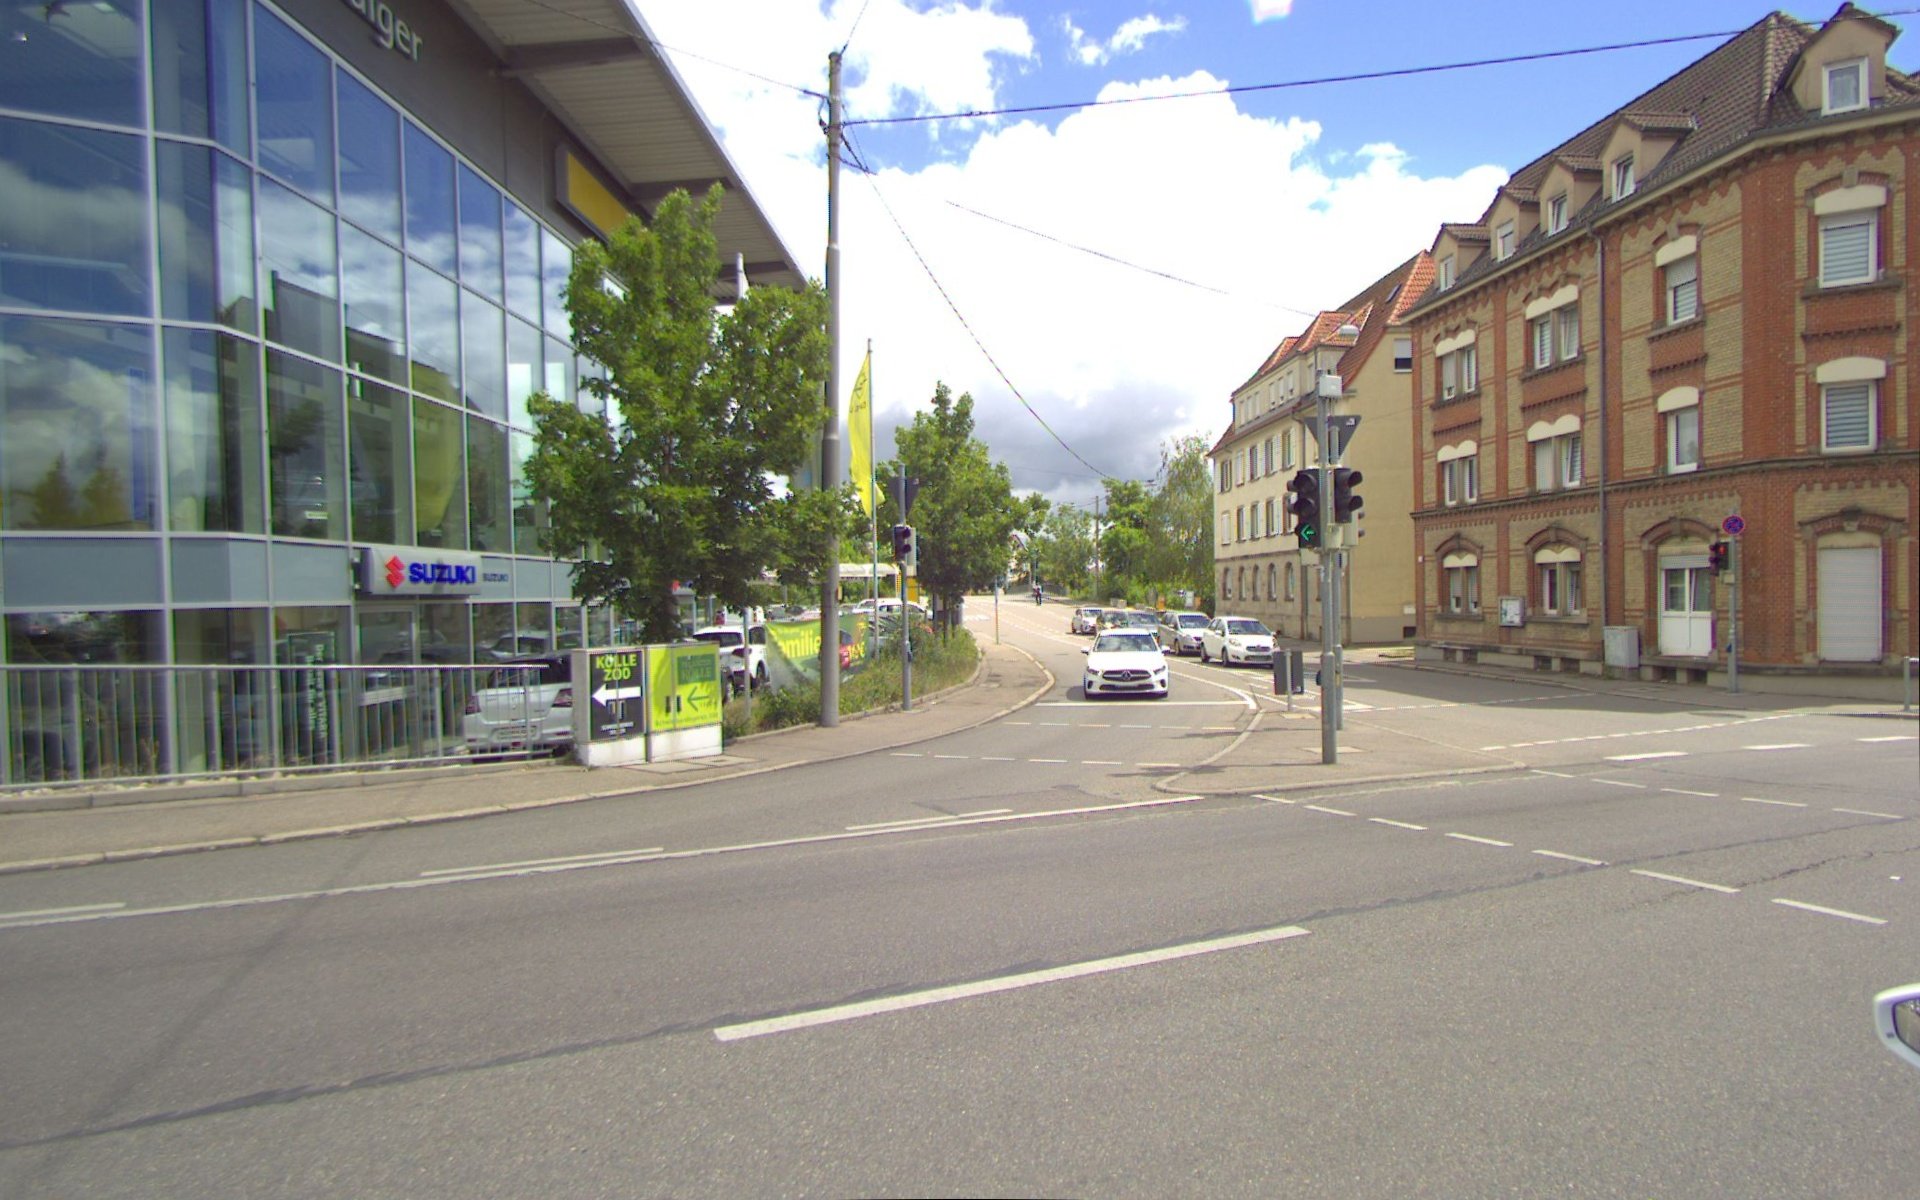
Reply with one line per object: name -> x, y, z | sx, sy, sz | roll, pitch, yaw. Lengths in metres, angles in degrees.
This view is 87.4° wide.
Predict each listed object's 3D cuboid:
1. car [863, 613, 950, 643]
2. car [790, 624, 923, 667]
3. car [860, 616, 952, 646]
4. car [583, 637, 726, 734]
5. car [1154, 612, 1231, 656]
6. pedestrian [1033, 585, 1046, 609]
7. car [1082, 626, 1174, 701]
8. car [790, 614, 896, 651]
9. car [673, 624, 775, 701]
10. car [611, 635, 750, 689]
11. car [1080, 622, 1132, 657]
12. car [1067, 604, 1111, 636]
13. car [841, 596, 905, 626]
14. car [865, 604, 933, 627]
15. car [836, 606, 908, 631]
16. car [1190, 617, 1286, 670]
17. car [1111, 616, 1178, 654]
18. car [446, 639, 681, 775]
car -> -2.464, 1.309, 47.256 | 3.920, 1.311, 1.819 | 1, 0, 2
car -> -3.196, 1.399, 31.507 | 3.920, 1.202, 1.819 | 1, 0, 2
car -> -2.370, 1.358, 44.618 | 3.920, 1.202, 1.819 | 1, 0, 2
car -> -5.671, 1.528, 19.092 | 1.487, 1.543, 3.793 | 1, -1, 1
car -> 8.719, 1.259, 38.024 | 1.714, 1.539, 3.997 | 1, -1, -4
pedestrian -> 6.941, -0.257, 87.618 | 0.944, 2.040, 0.867 | 1, 0, 13
car -> 3.683, 1.354, 22.631 | 1.825, 1.466, 4.394 | -2, -2, 7
car -> -4.629, 1.263, 40.091 | 3.920, 1.371, 1.733 | 1, 0, 2
car -> -5.432, 1.406, 23.481 | 1.487, 1.596, 3.415 | 1, -1, 1
car -> -8.667, 1.904, 31.204 | 3.920, 1.478, 1.605 | 1, 0, 17
car -> 7.281, 1.935, 50.517 | 1.960, 1.607, 4.346 | 1, 0, 0
car -> 7.395, 1.127, 57.939 | 1.907, 1.743, 3.999 | 1, -1, -2
car -> -6.061, 0.797, 70.686 | 2.202, 2.040, 4.924 | 0, -1, 26
car -> -3.676, 0.911, 60.768 | 3.920, 1.311, 1.819 | 1, 0, 2
car -> -5.027, 1.052, 57.629 | 3.920, 1.311, 1.819 | 1, 0, 2
car -> 8.687, 1.315, 31.702 | 1.669, 1.517, 3.997 | 1, -1, -4
car -> 8.140, 1.528, 44.736 | 1.962, 1.539, 3.997 | 1, -1, -4
car -> -5.687, 1.463, 14.939 | 1.720, 1.596, 3.688 | 2, -1, 5
